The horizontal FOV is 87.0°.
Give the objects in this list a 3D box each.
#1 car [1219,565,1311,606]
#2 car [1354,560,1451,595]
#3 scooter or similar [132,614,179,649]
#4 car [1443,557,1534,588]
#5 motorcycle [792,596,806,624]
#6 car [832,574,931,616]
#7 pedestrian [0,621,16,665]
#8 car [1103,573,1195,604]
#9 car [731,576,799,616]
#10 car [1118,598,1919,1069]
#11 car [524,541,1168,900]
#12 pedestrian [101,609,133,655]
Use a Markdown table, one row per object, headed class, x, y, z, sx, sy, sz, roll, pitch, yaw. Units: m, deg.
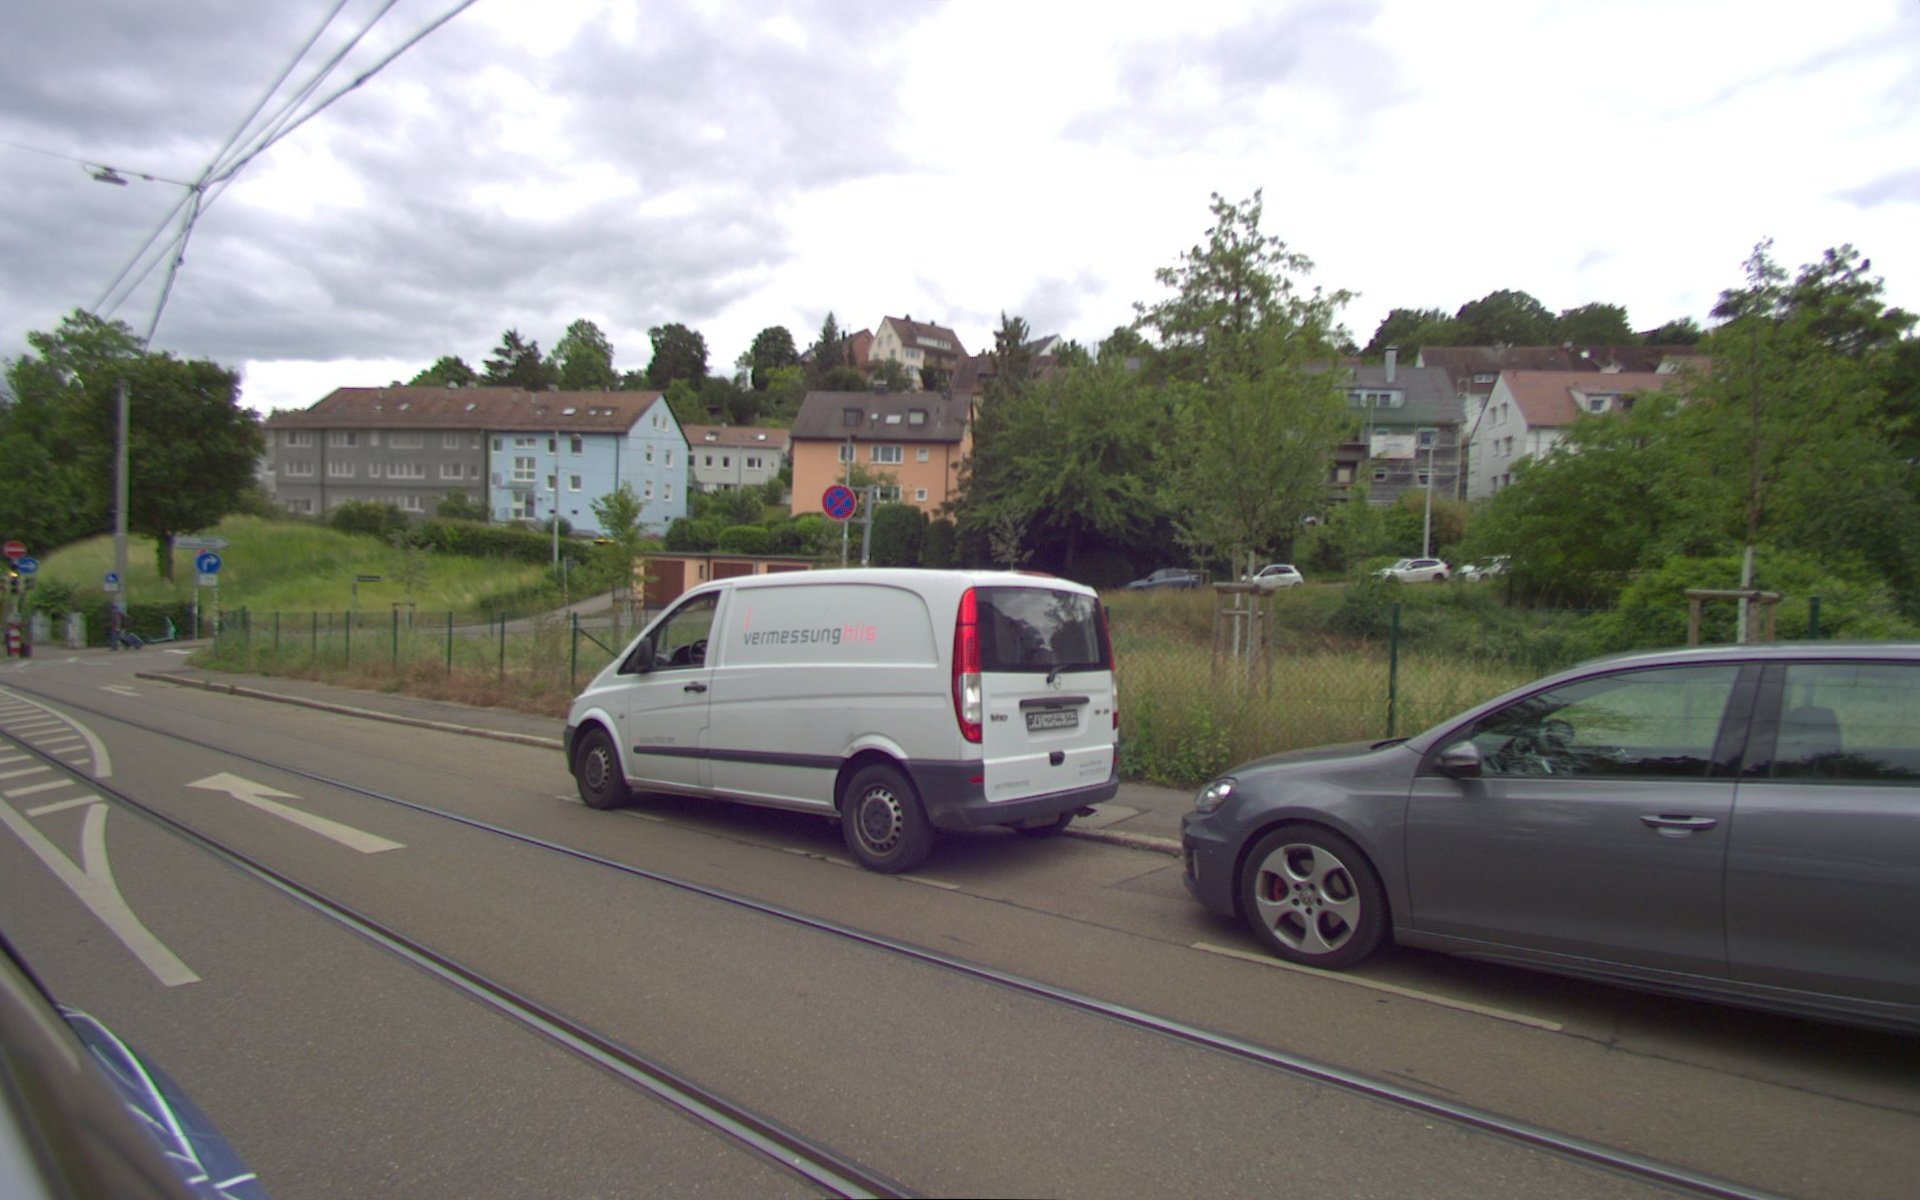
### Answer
| class | x | y | z | sx | sy | sz | roll | pitch | yaw |
| --- | --- | --- | --- | --- | --- | --- | --- | --- | --- |
| car | 15.831 | -0.752 | 52.586 | 4.064 | 2.029 | 1.987 | 0 | 0 | -11 |
| car | 23.622 | -1.192 | 54.106 | 4.411 | 1.802 | 1.906 | 0 | 0 | -10 |
| scooter or similar | -33.006 | 1.287 | 41.543 | 0.418 | 1.298 | 1.394 | 0 | 4 | 41 |
| car | 28.742 | -1.492 | 55.057 | 4.065 | 1.670 | 1.841 | 0 | 0 | -10 |
| motorcycle | -7.541 | 0.459 | 47.379 | 0.513 | 1.165 | 1.710 | 0 | 4 | -14 |
| car | -3.750 | -0.248 | 48.204 | 4.378 | 1.702 | 1.982 | -4 | 1 | -12 |
| pedestrian | -35.024 | 1.577 | 36.972 | 0.742 | 1.586 | 0.758 | -1 | 0 | -42 |
| car | 9.480 | -0.579 | 50.909 | 4.065 | 1.523 | 1.987 | 0 | 0 | -10 |
| car | -9.977 | -0.246 | 52.206 | 1.976 | 1.624 | 4.871 | 0 | 5 | 7 |
| car | 3.091 | 0.746 | 4.235 | 4.508 | 1.443 | 1.877 | -1 | -2 | 41 |
| car | -1.103 | 0.676 | 7.708 | 4.880 | 1.896 | 2.015 | 0 | -3 | 39 |
| pedestrian | -32.947 | 1.227 | 39.565 | 0.887 | 1.763 | 0.744 | -1 | 0 | -36 |
